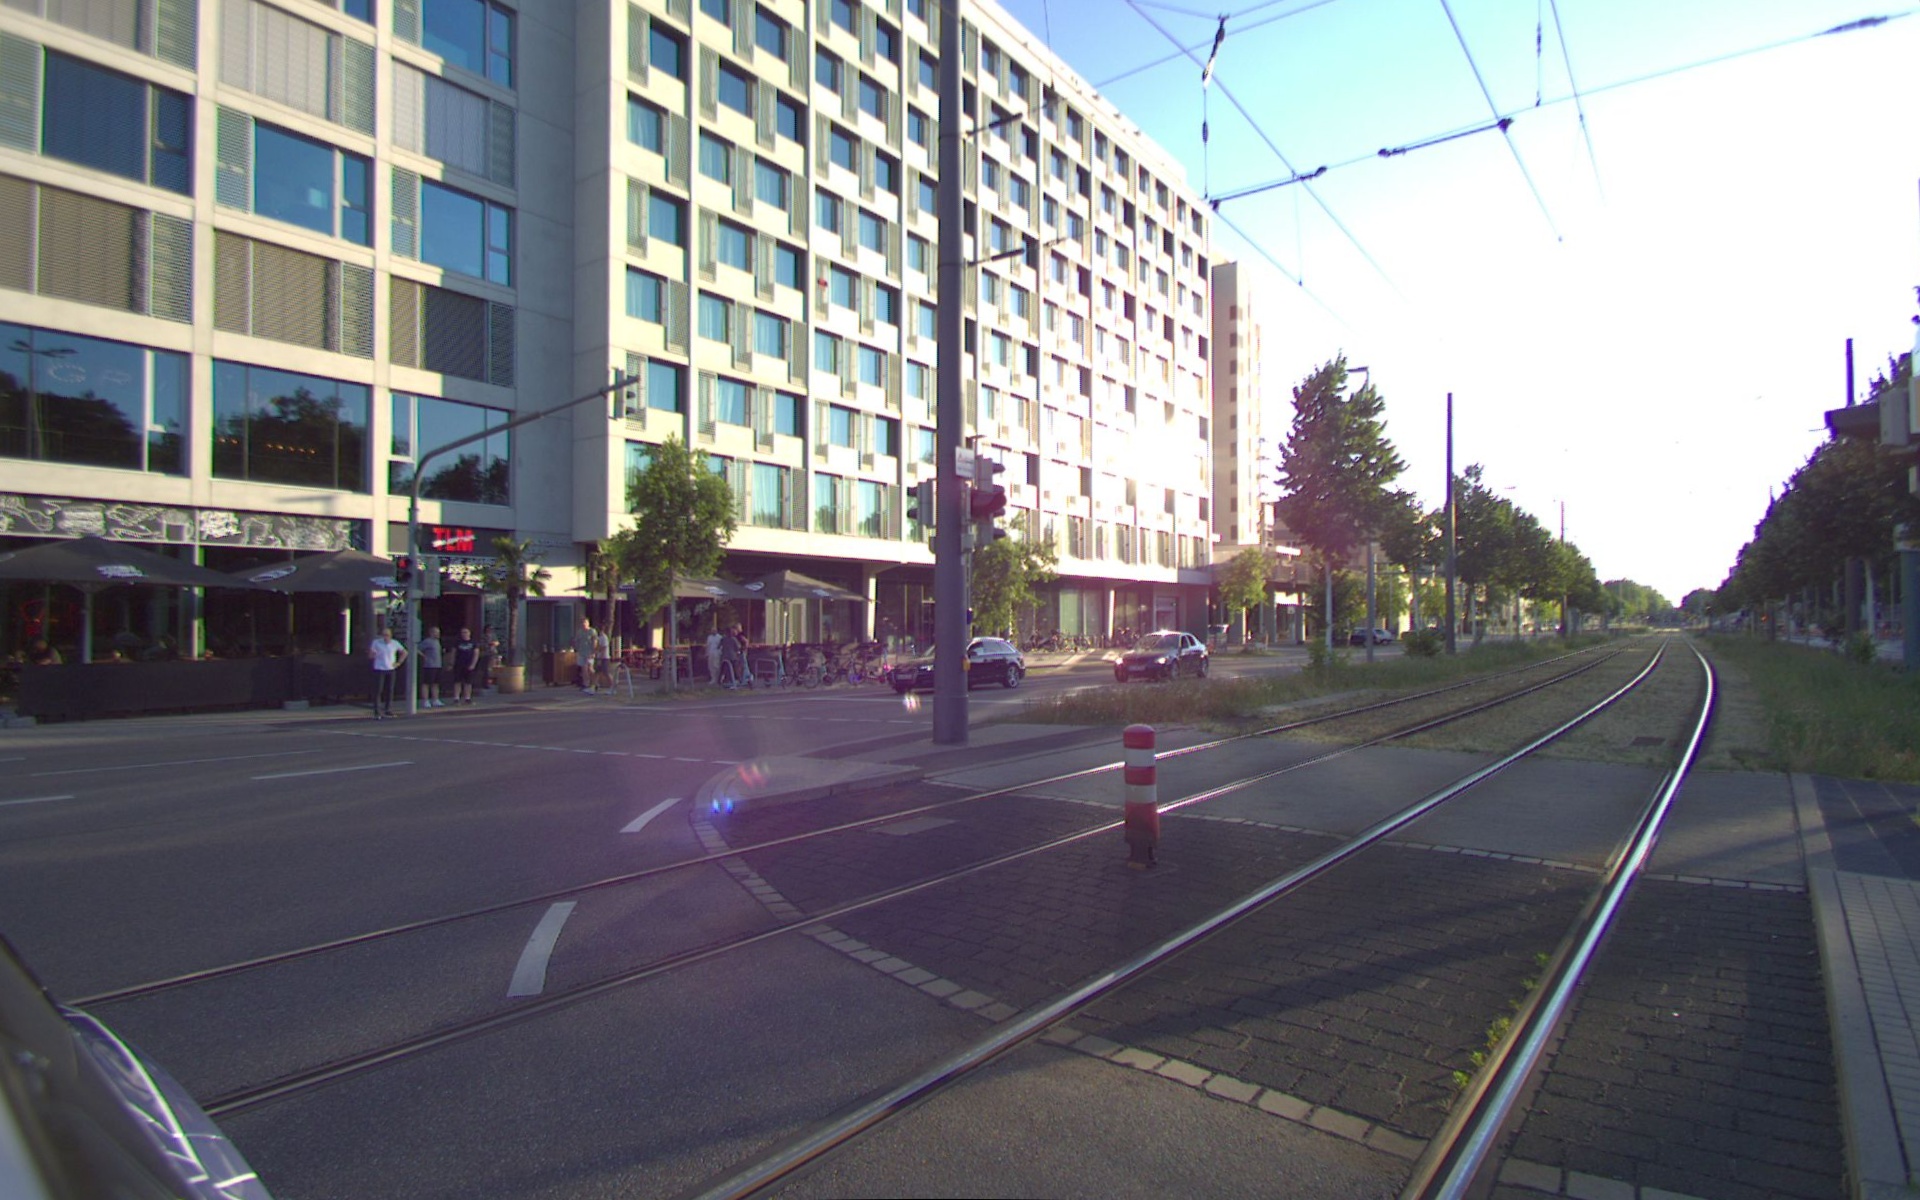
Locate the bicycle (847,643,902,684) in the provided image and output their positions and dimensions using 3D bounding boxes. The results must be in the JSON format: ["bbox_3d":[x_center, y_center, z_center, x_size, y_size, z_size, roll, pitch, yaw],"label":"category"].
[{"bbox_3d":[-2.794,2.046,32.865,1.909,1.208,0.438,1,-1,33],"label":"bicycle"}]

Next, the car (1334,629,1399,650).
[{"bbox_3d":[31.832,3.109,79.280,4.221,1.602,2.011,0,-2,-4],"label":"car"}]

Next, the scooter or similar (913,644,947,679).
[{"bbox_3d":[-1.045,2.101,34.713,1.184,1.065,0.334,4,3,37],"label":"scooter or similar"}]

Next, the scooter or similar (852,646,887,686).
[{"bbox_3d":[-2.870,2.081,32.129,1.183,1.227,0.334,-1,-2,37],"label":"scooter or similar"}]

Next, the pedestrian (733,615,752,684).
[{"bbox_3d":[-6.474,1.463,30.068,0.542,2.029,0.503,0,-2,-12],"label":"pedestrian"}]

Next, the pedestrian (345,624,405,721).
[{"bbox_3d":[-11.676,1.428,20.196,0.707,1.850,0.754,2,0,35],"label":"pedestrian"}]

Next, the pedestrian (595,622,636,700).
[{"bbox_3d":[-8.830,1.549,25.929,0.680,1.938,0.699,2,0,39],"label":"pedestrian"}]

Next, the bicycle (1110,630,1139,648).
[{"bbox_3d":[10.119,2.392,62.228,1.788,1.028,0.416,-1,-2,33],"label":"bicycle"}]

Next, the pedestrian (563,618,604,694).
[{"bbox_3d":[-9.924,1.452,26.672,0.680,1.938,0.700,2,0,37],"label":"pedestrian"}]

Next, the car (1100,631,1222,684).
[{"bbox_3d":[6.243,1.717,31.042,2.016,1.452,4.746,-3,-3,33],"label":"car"}]

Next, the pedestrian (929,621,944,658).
[{"bbox_3d":[-1.087,1.819,46.790,0.429,1.669,0.509,2,0,37],"label":"pedestrian"}]

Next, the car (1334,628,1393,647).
[{"bbox_3d":[33.611,3.130,84.378,4.070,1.446,1.826,2,0,-3],"label":"car"}]

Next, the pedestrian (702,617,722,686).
[{"bbox_3d":[-7.280,1.504,29.719,0.542,2.029,0.503,0,-2,-12],"label":"pedestrian"}]

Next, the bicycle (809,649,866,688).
[{"bbox_3d":[-3.780,2.092,31.159,1.909,1.067,0.438,1,-1,33],"label":"bicycle"}]

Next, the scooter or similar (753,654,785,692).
[{"bbox_3d":[-5.449,2.063,28.873,1.008,1.041,0.287,-1,-3,37],"label":"scooter or similar"}]

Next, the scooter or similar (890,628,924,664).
[{"bbox_3d":[-1.776,1.521,33.811,1.183,1.172,0.334,-1,-2,37],"label":"scooter or similar"}]

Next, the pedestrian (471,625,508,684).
[{"bbox_3d":[-13.102,1.499,28.164,0.681,1.616,0.698,-1,-2,43],"label":"pedestrian"}]

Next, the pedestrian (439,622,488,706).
[{"bbox_3d":[-11.234,1.433,22.892,0.707,1.850,0.673,2,-1,35],"label":"pedestrian"}]

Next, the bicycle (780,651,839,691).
[{"bbox_3d":[-4.475,2.089,30.082,1.909,1.067,0.438,1,-1,33],"label":"bicycle"}]

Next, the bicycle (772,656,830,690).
[{"bbox_3d":[-4.684,2.127,29.713,1.865,0.877,0.438,1,-1,33],"label":"bicycle"}]

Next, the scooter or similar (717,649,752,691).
[{"bbox_3d":[-6.275,1.943,28.129,0.974,1.093,0.334,2,-3,37],"label":"scooter or similar"}]

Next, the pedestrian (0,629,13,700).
[{"bbox_3d":[-20.242,1.341,20.986,0.604,1.473,0.763,-1,-2,36],"label":"pedestrian"}]

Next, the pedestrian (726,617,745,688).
[{"bbox_3d":[-6.526,1.520,29.415,0.542,2.029,0.503,0,-2,-12],"label":"pedestrian"}]

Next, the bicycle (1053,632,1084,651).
[{"bbox_3d":[6.109,2.337,56.951,1.742,1.028,0.416,-1,-2,33],"label":"bicycle"}]

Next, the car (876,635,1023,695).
[{"bbox_3d":[-0.209,1.703,27.193,1.887,1.451,4.174,-3,-3,34],"label":"car"}]

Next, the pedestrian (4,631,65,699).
[{"bbox_3d":[-19.998,1.384,21.885,0.601,1.425,0.767,-1,-2,20],"label":"pedestrian"}]

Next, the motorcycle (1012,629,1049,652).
[{"bbox_3d":[3.753,2.181,54.055,1.884,1.180,0.512,0,-1,21],"label":"motorcycle"}]
